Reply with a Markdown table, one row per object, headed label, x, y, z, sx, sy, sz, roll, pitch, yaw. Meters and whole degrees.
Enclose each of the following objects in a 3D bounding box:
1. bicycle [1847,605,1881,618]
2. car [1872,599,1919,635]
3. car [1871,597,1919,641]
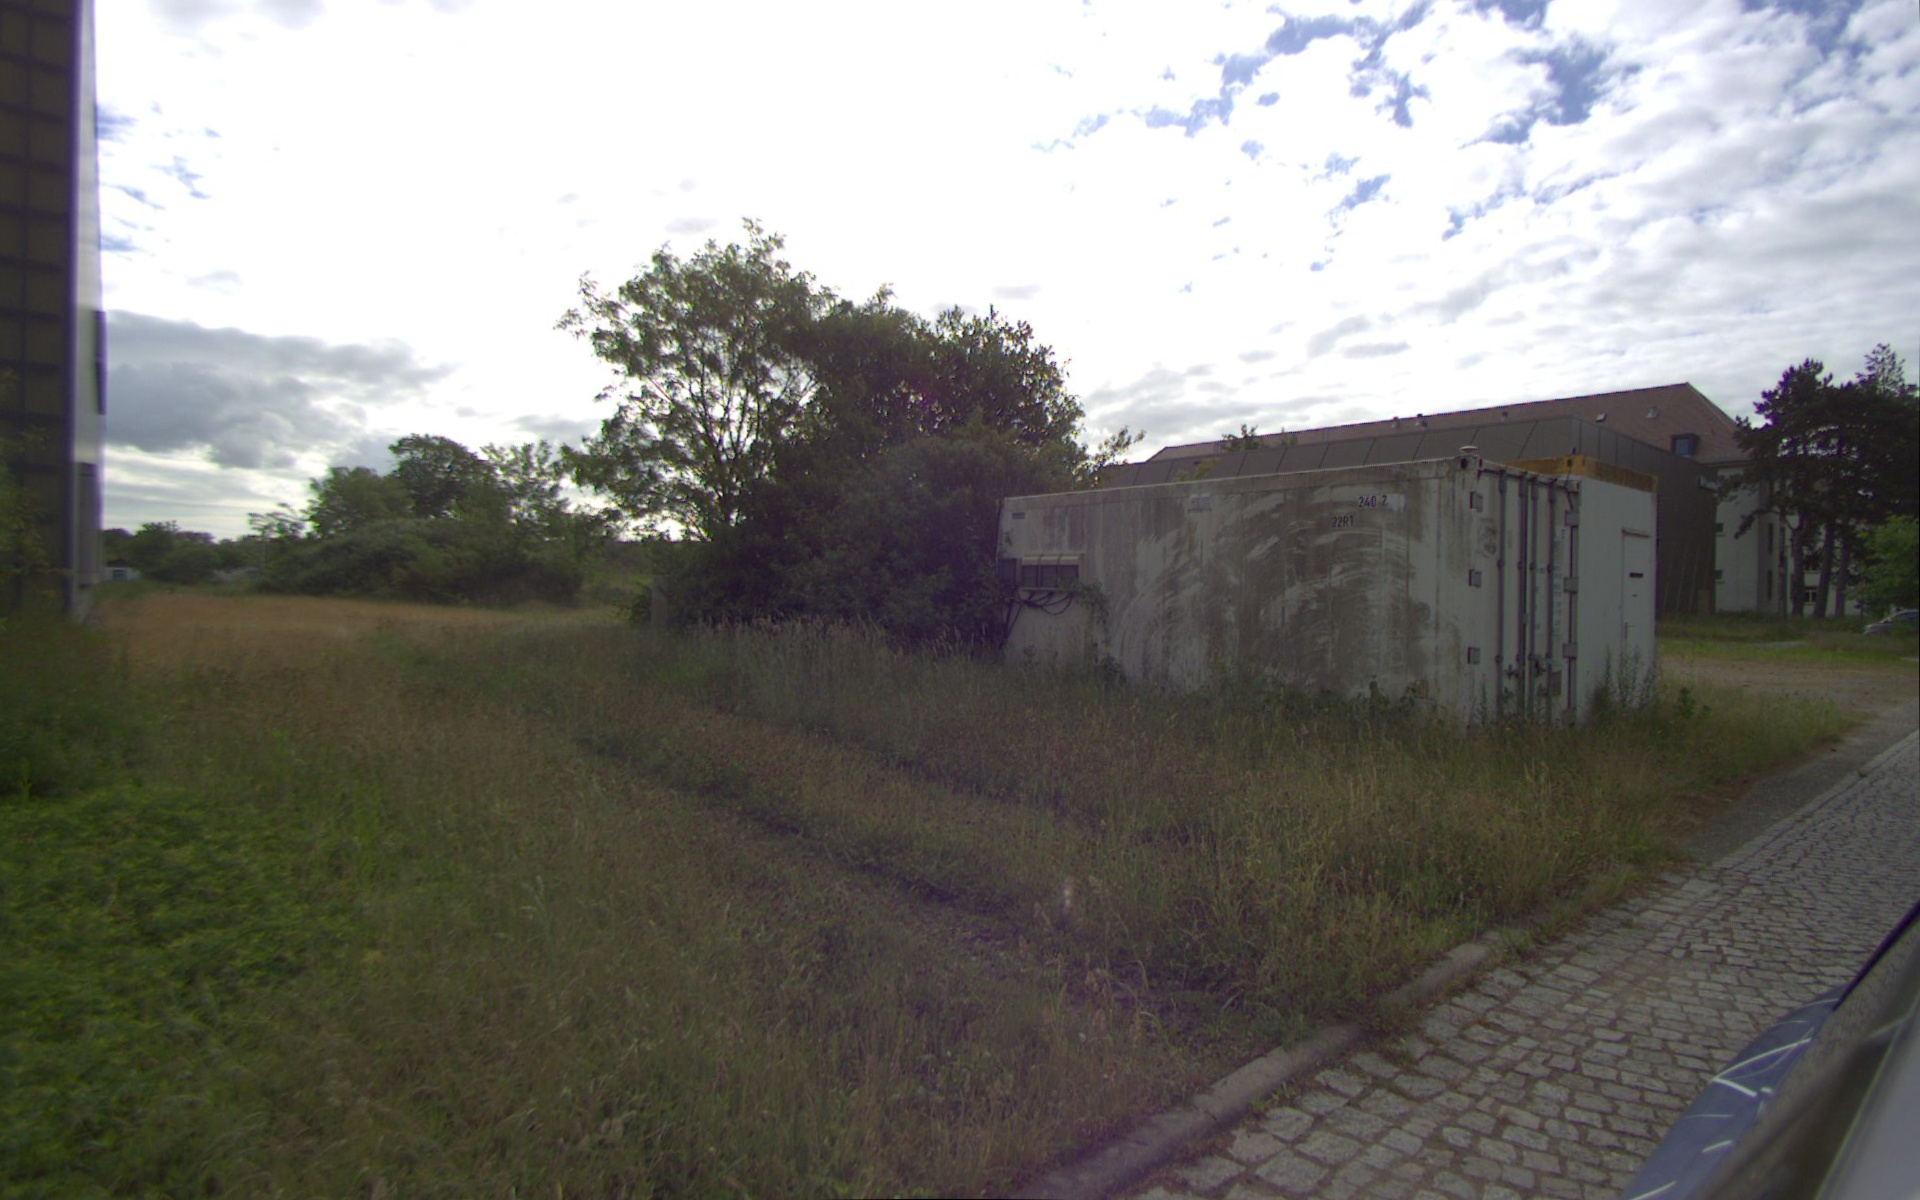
| label | x | y | z | sx | sy | sz | roll | pitch | yaw |
| --- | --- | --- | --- | --- | --- | --- | --- | --- | --- |
| bicycle | 79.095 | 0.974 | 88.585 | 0.705 | 1.109 | 2.160 | 1 | 0 | -43 |
| car | 42.330 | 0.805 | 43.462 | 1.899 | 1.467 | 4.533 | 1 | 3 | -42 |
| car | 36.916 | 0.763 | 38.776 | 1.653 | 1.601 | 2.747 | 1 | 2 | -40 |
